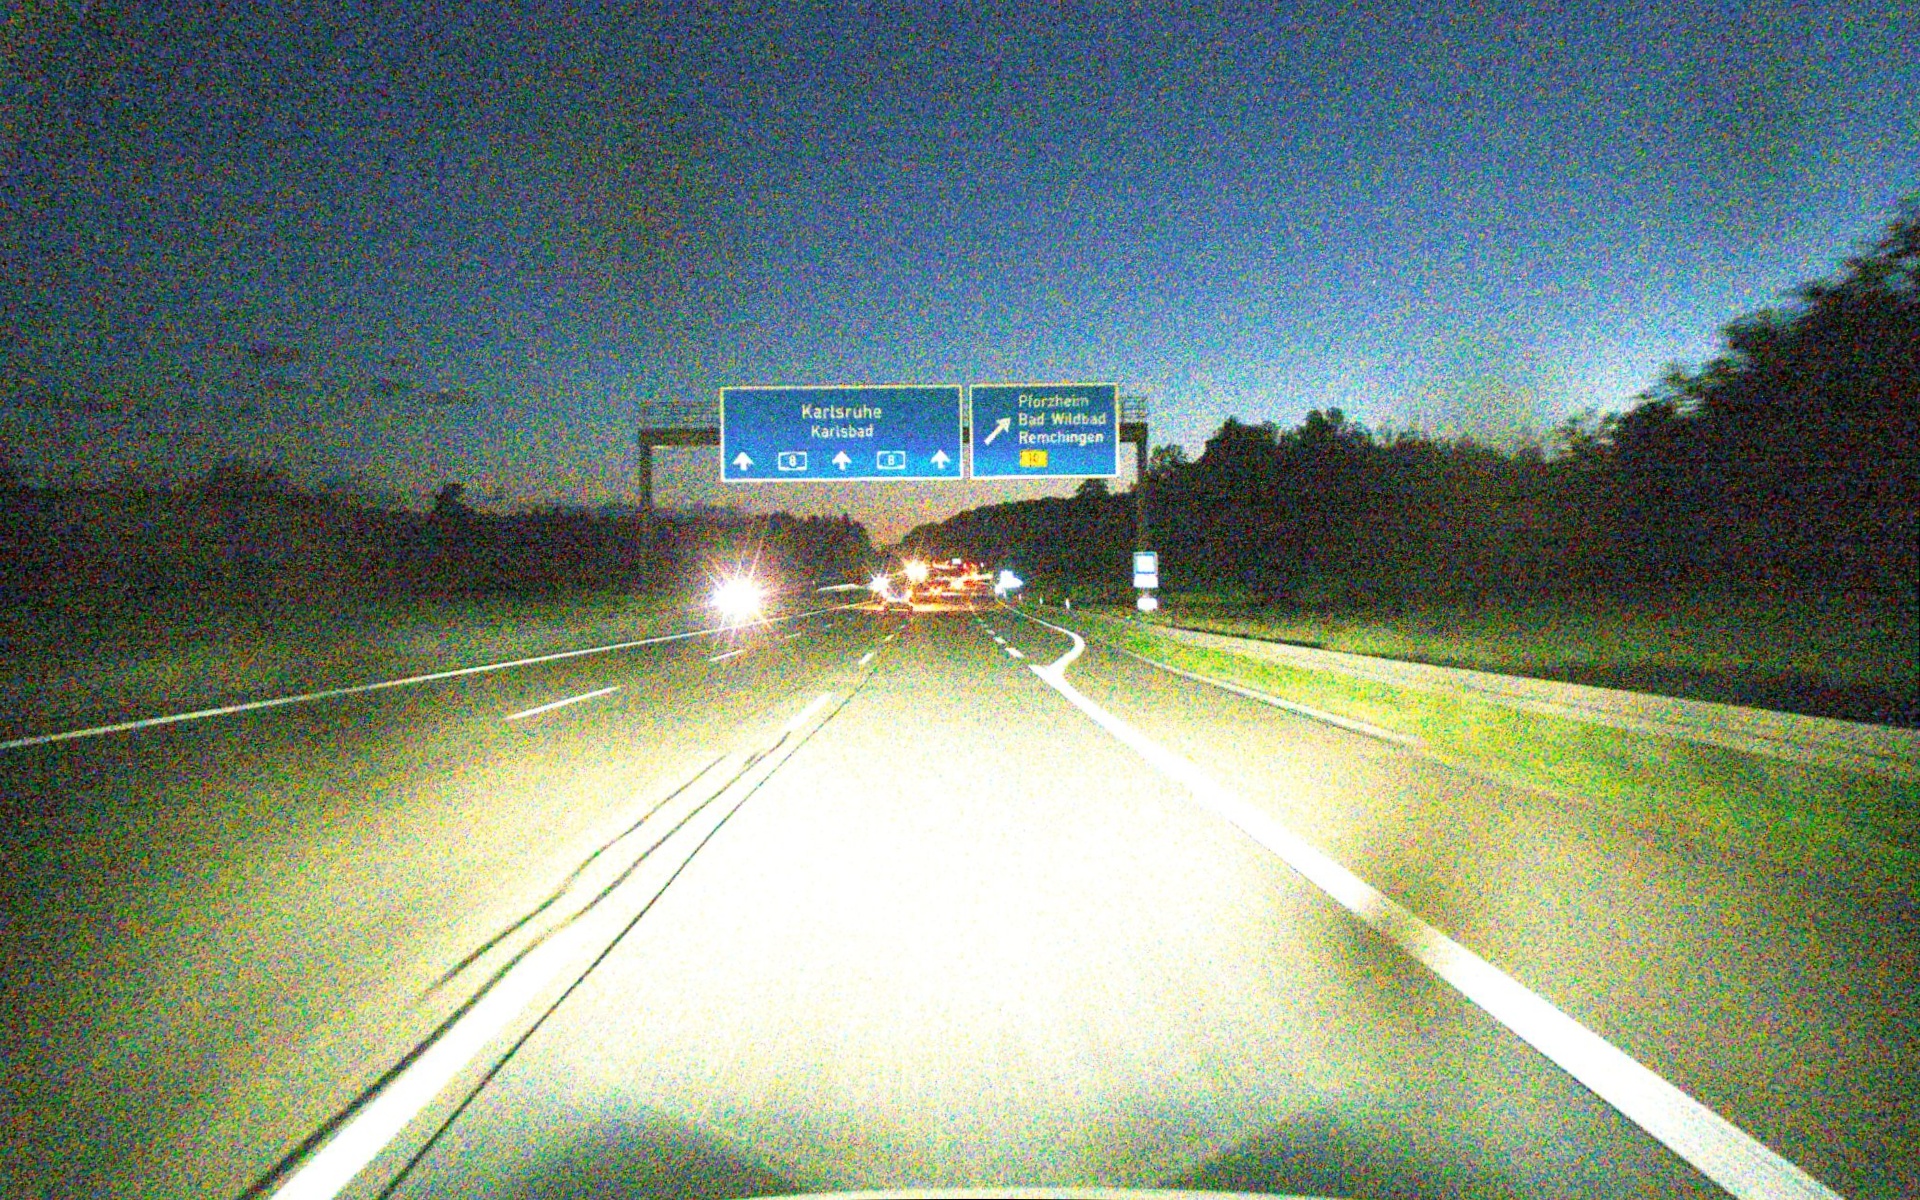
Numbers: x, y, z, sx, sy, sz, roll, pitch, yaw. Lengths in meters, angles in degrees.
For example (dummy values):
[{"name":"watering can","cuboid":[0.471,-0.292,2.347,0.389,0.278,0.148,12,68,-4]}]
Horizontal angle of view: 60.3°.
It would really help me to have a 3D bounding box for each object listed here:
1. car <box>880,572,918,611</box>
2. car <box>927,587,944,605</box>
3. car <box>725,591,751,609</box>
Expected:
[{"name":"car","cuboid":[-4.465,-0.579,120.493,2.731,2.781,6.295,0,-1,-3]},{"name":"car","cuboid":[-3.841,-0.581,258.992,2.730,2.781,6.297,0,-1,-1]},{"name":"car","cuboid":[-22.673,0.012,168.775,1.953,1.776,5.071,1,0,0]}]
